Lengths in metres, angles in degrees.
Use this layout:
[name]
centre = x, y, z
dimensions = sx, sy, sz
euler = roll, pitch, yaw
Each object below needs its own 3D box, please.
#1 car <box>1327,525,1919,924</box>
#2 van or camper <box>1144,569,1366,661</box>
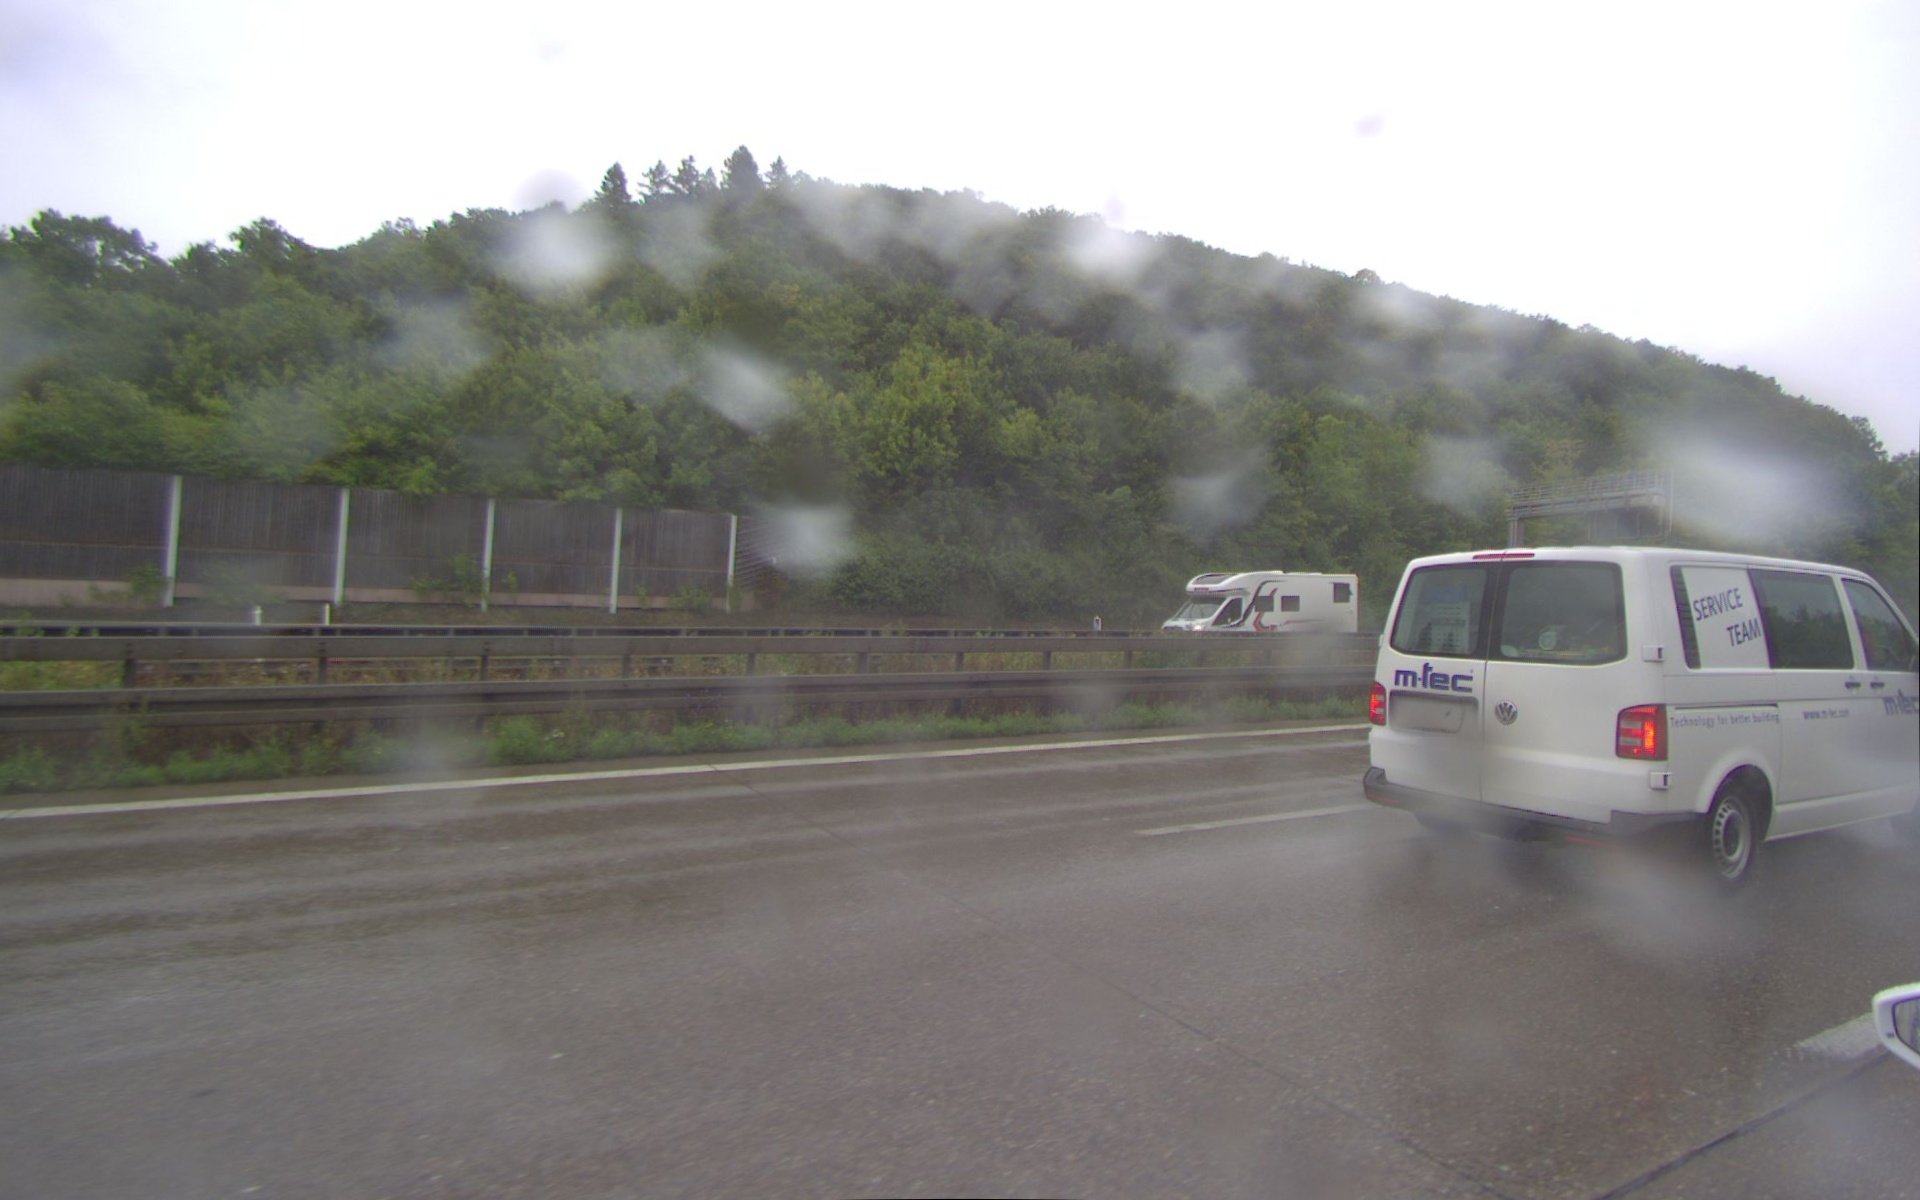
[car]
centre = 4.983, 0.637, 6.909
dimensions = 4.983, 1.919, 1.891
euler = 1, -1, -30
[van or camper]
centre = 9.733, 0.515, 32.860
dimensions = 7.408, 2.754, 2.545
euler = 1, -1, -30
